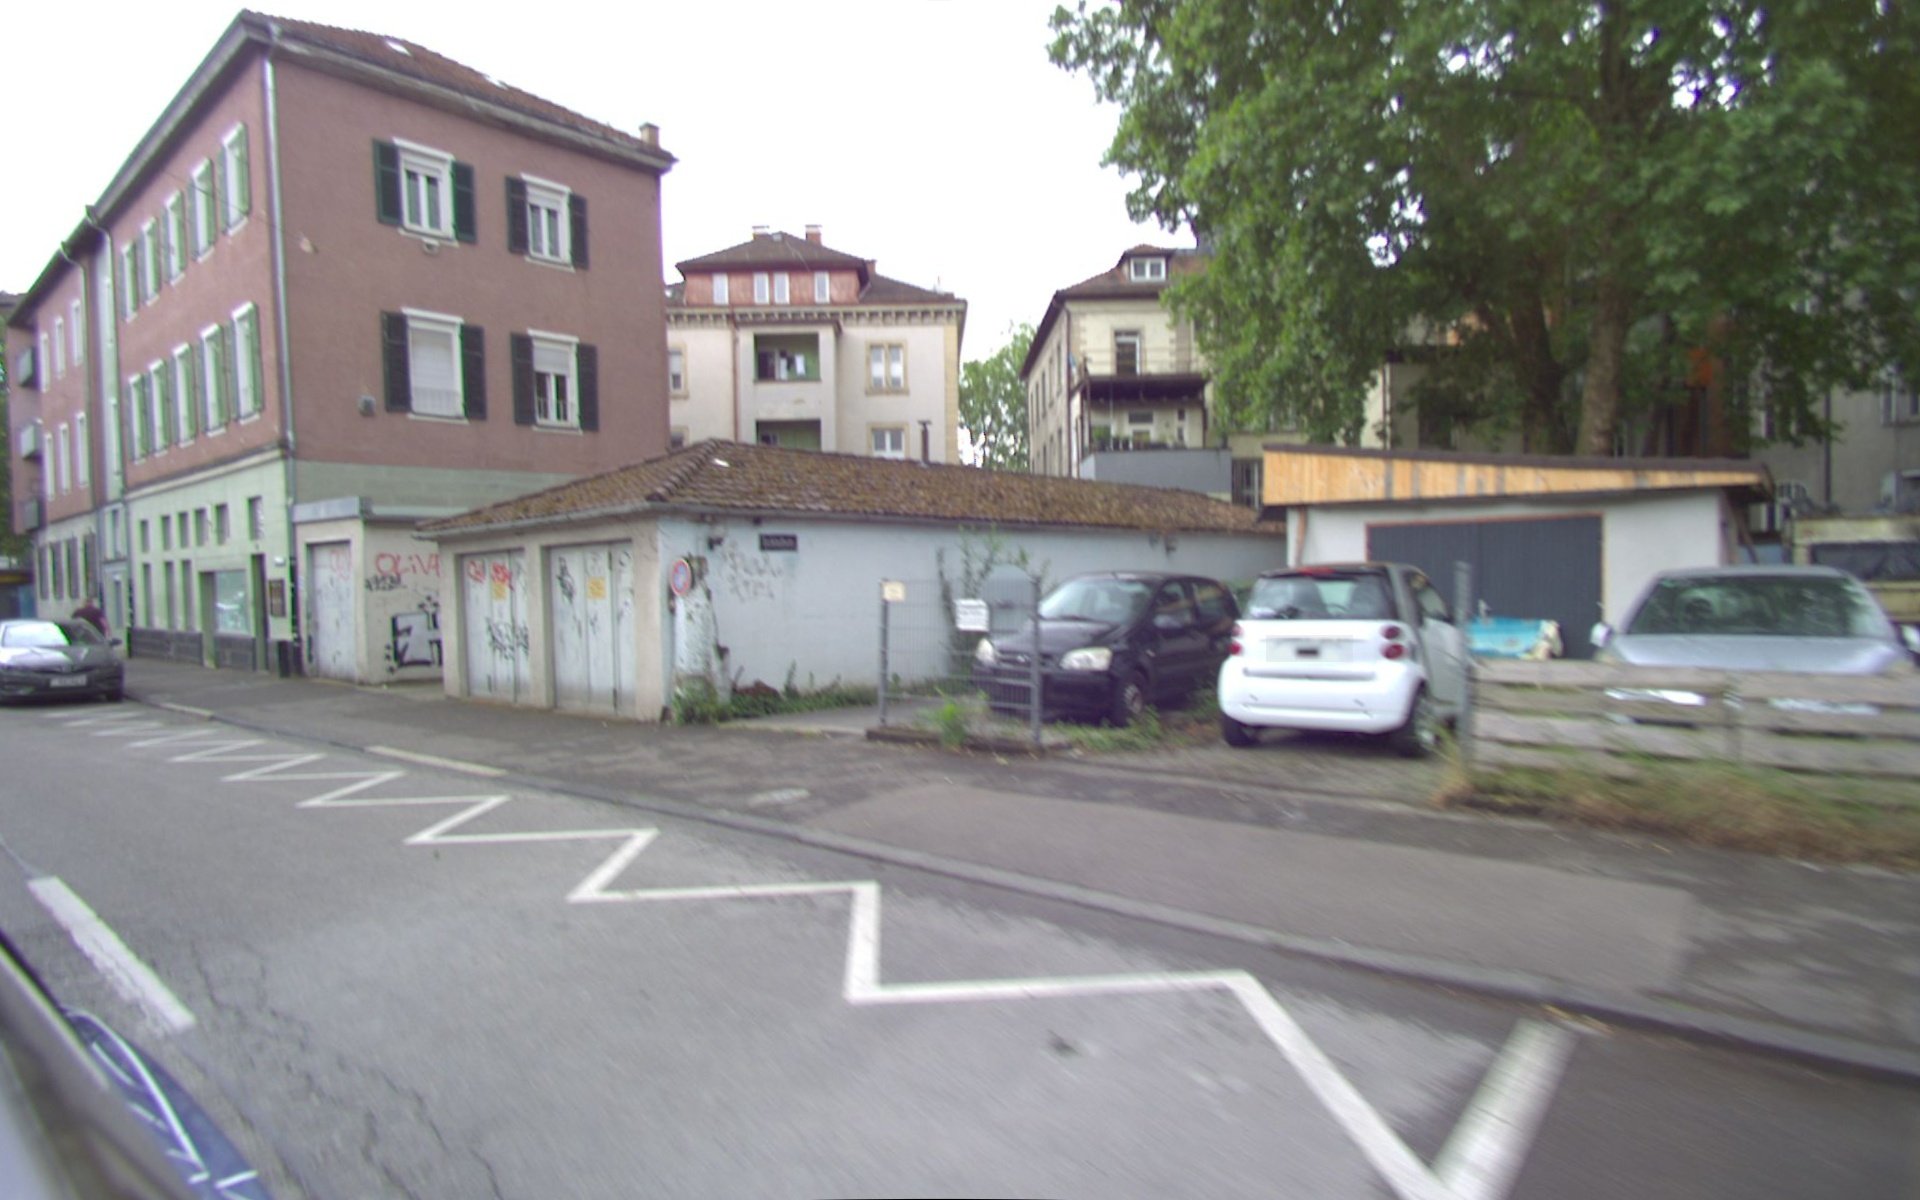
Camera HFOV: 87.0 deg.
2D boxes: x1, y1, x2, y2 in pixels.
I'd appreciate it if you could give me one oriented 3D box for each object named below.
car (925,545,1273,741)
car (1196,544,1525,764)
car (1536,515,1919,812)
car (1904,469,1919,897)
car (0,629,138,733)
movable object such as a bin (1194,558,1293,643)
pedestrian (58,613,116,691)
[{"bbox_3d":[1.593,0.344,10.584,1.852,1.655,3.723,-1,0,41],"label":"car"},{"bbox_3d":[3.612,0.379,8.934,1.852,1.577,2.818,-1,0,41],"label":"car"},{"bbox_3d":[5.503,0.303,7.087,1.852,1.516,3.684,-1,0,41],"label":"car"},{"bbox_3d":[3.830,0.516,0.502,4.771,1.746,1.934,-2,1,41],"label":"car"},{"bbox_3d":[-16.484,1.376,18.204,4.124,1.497,1.859,-2,3,41],"label":"car"},{"bbox_3d":[5.550,0.002,19.744,1.172,1.494,1.728,-2,3,41],"label":"movable object such as a bin"},{"bbox_3d":[-20.996,1.247,24.330,0.983,1.756,0.754,-3,2,38],"label":"pedestrian"}]
